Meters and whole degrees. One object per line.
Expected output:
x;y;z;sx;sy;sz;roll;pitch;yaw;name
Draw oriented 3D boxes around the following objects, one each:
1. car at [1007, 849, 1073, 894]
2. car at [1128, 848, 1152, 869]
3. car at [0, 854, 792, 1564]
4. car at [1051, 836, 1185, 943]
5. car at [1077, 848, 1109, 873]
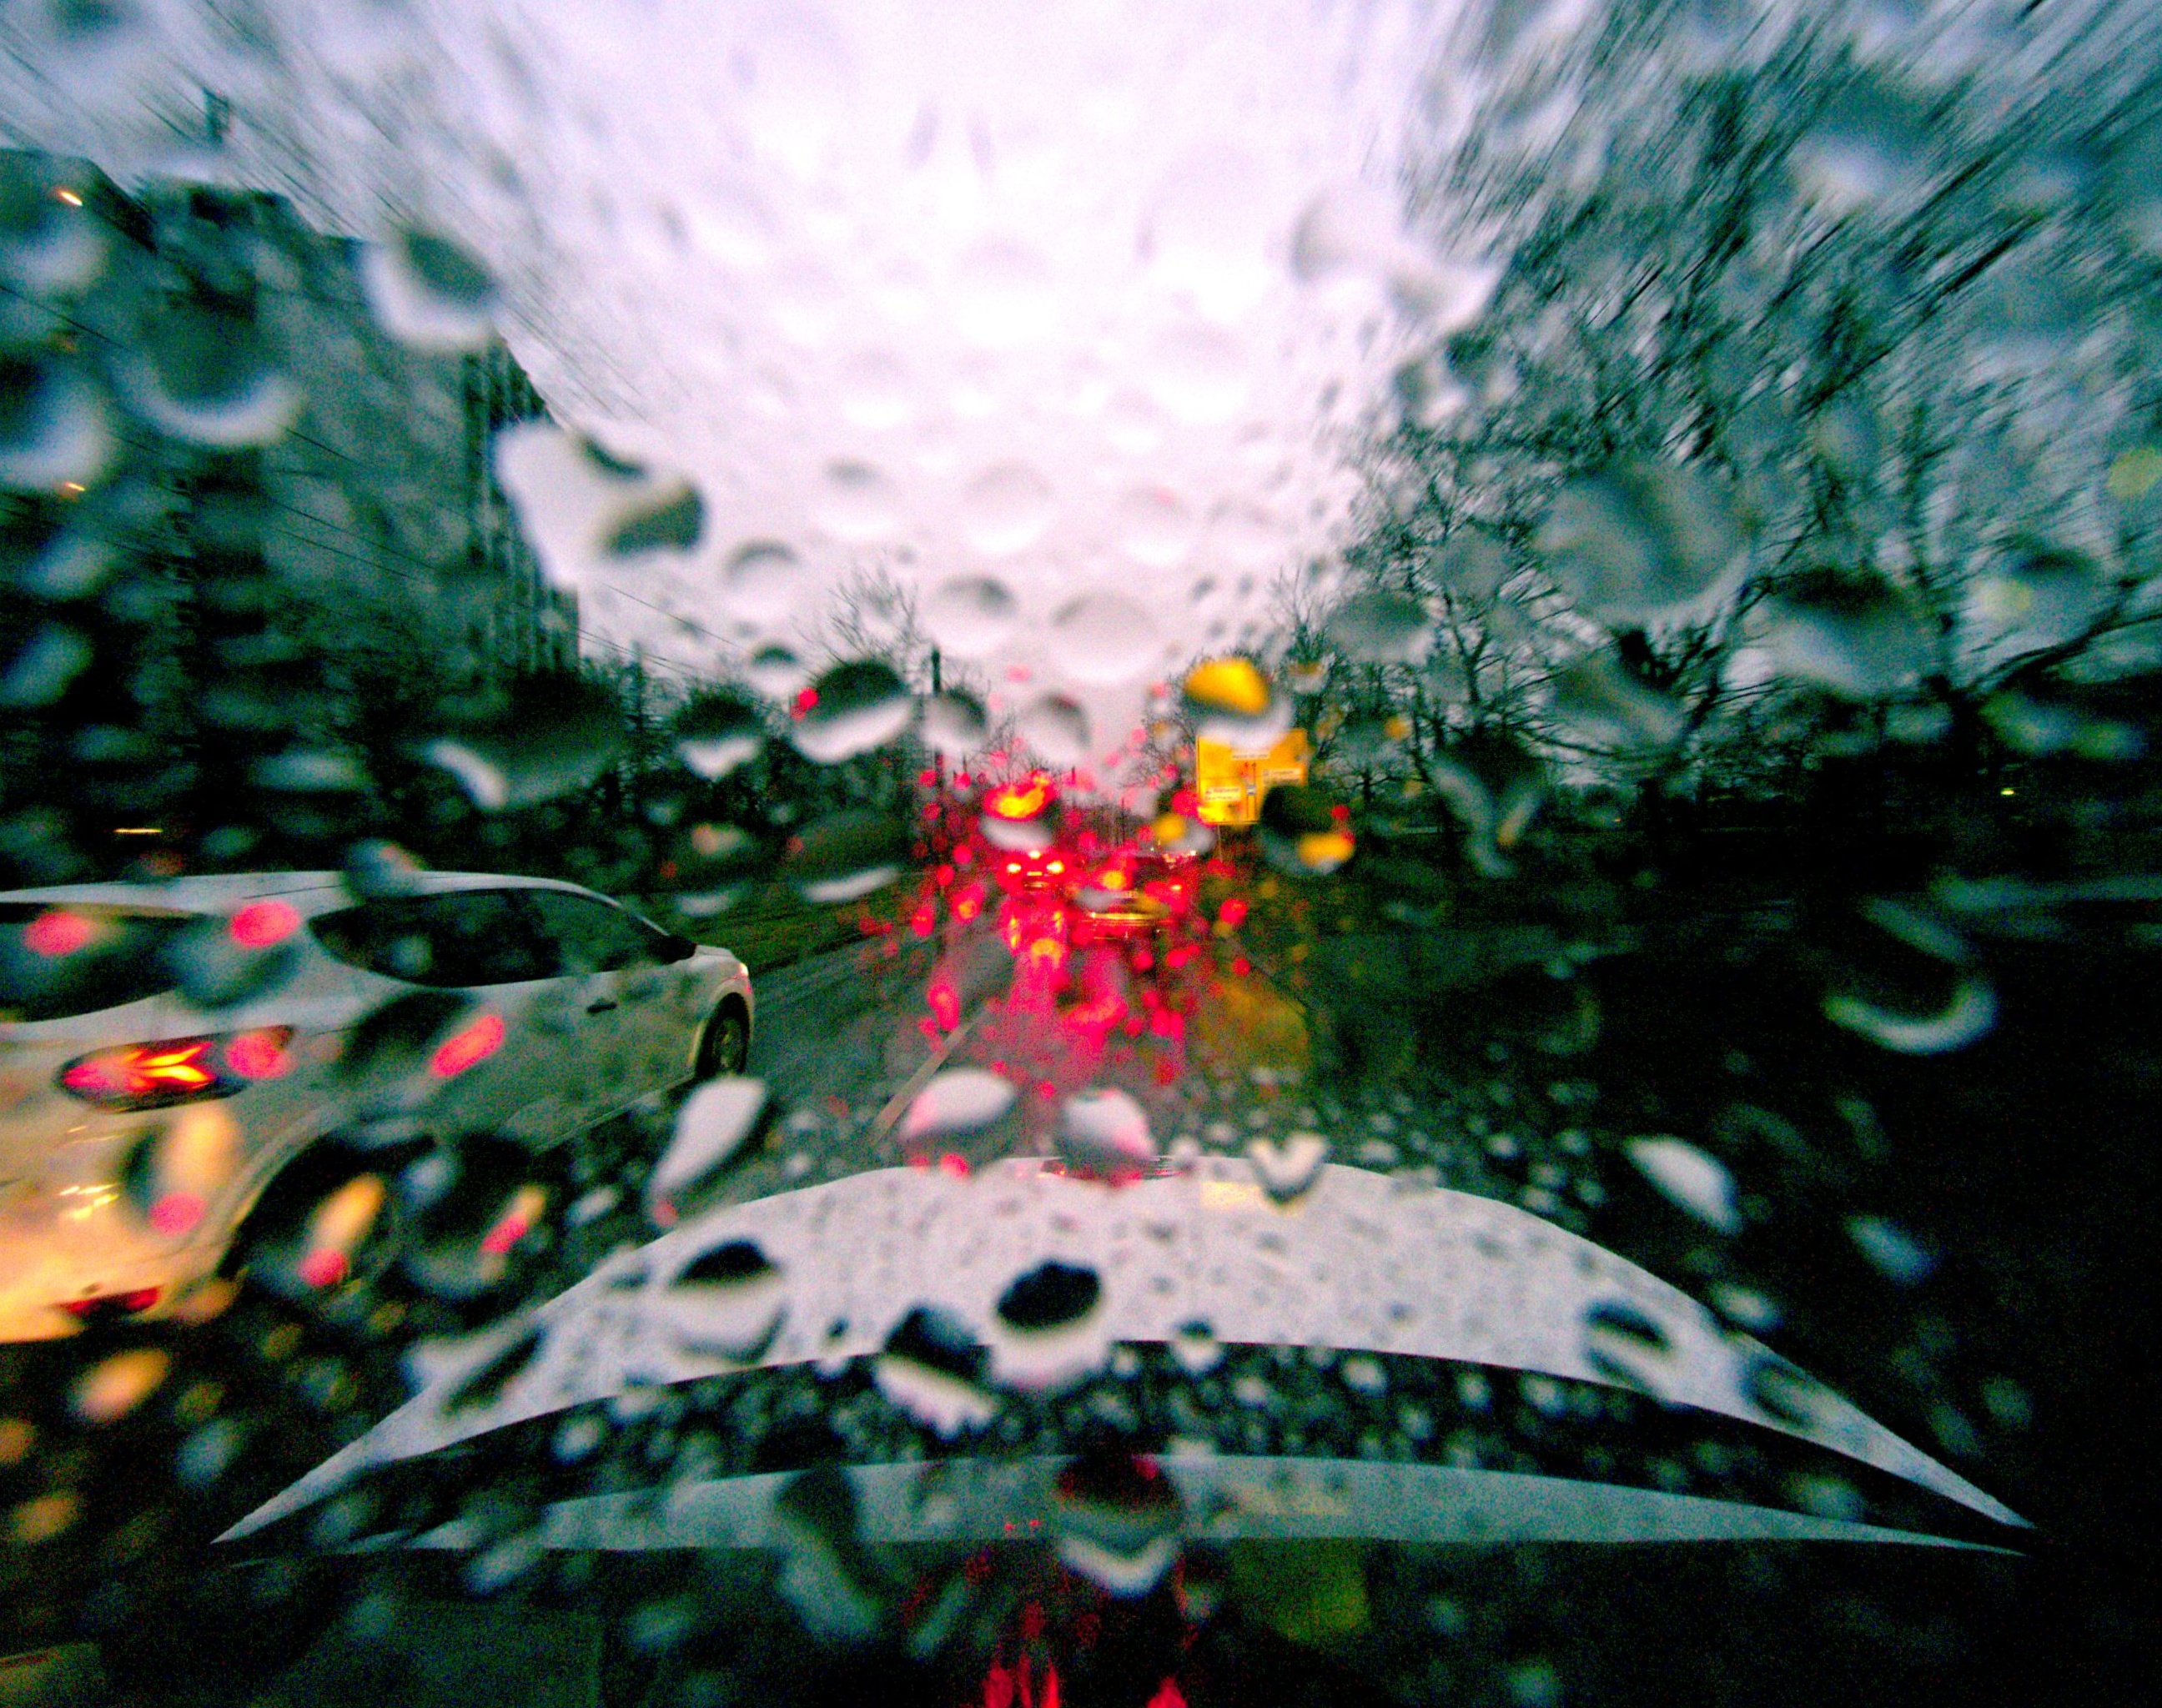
-1.418;0.575;29.455;1.872;1.459;4.004;-2;1;4;car
4.624;0.328;63.253;1.700;1.558;4.003;-1;0;6;car
-3.078;0.783;3.858;1.701;1.525;4.138;-1;0;3;car
0.675;0.520;14.275;1.990;1.584;4.004;-1;0;3;car
0.861;0.397;55.818;1.871;1.593;4.005;-2;1;4;car
